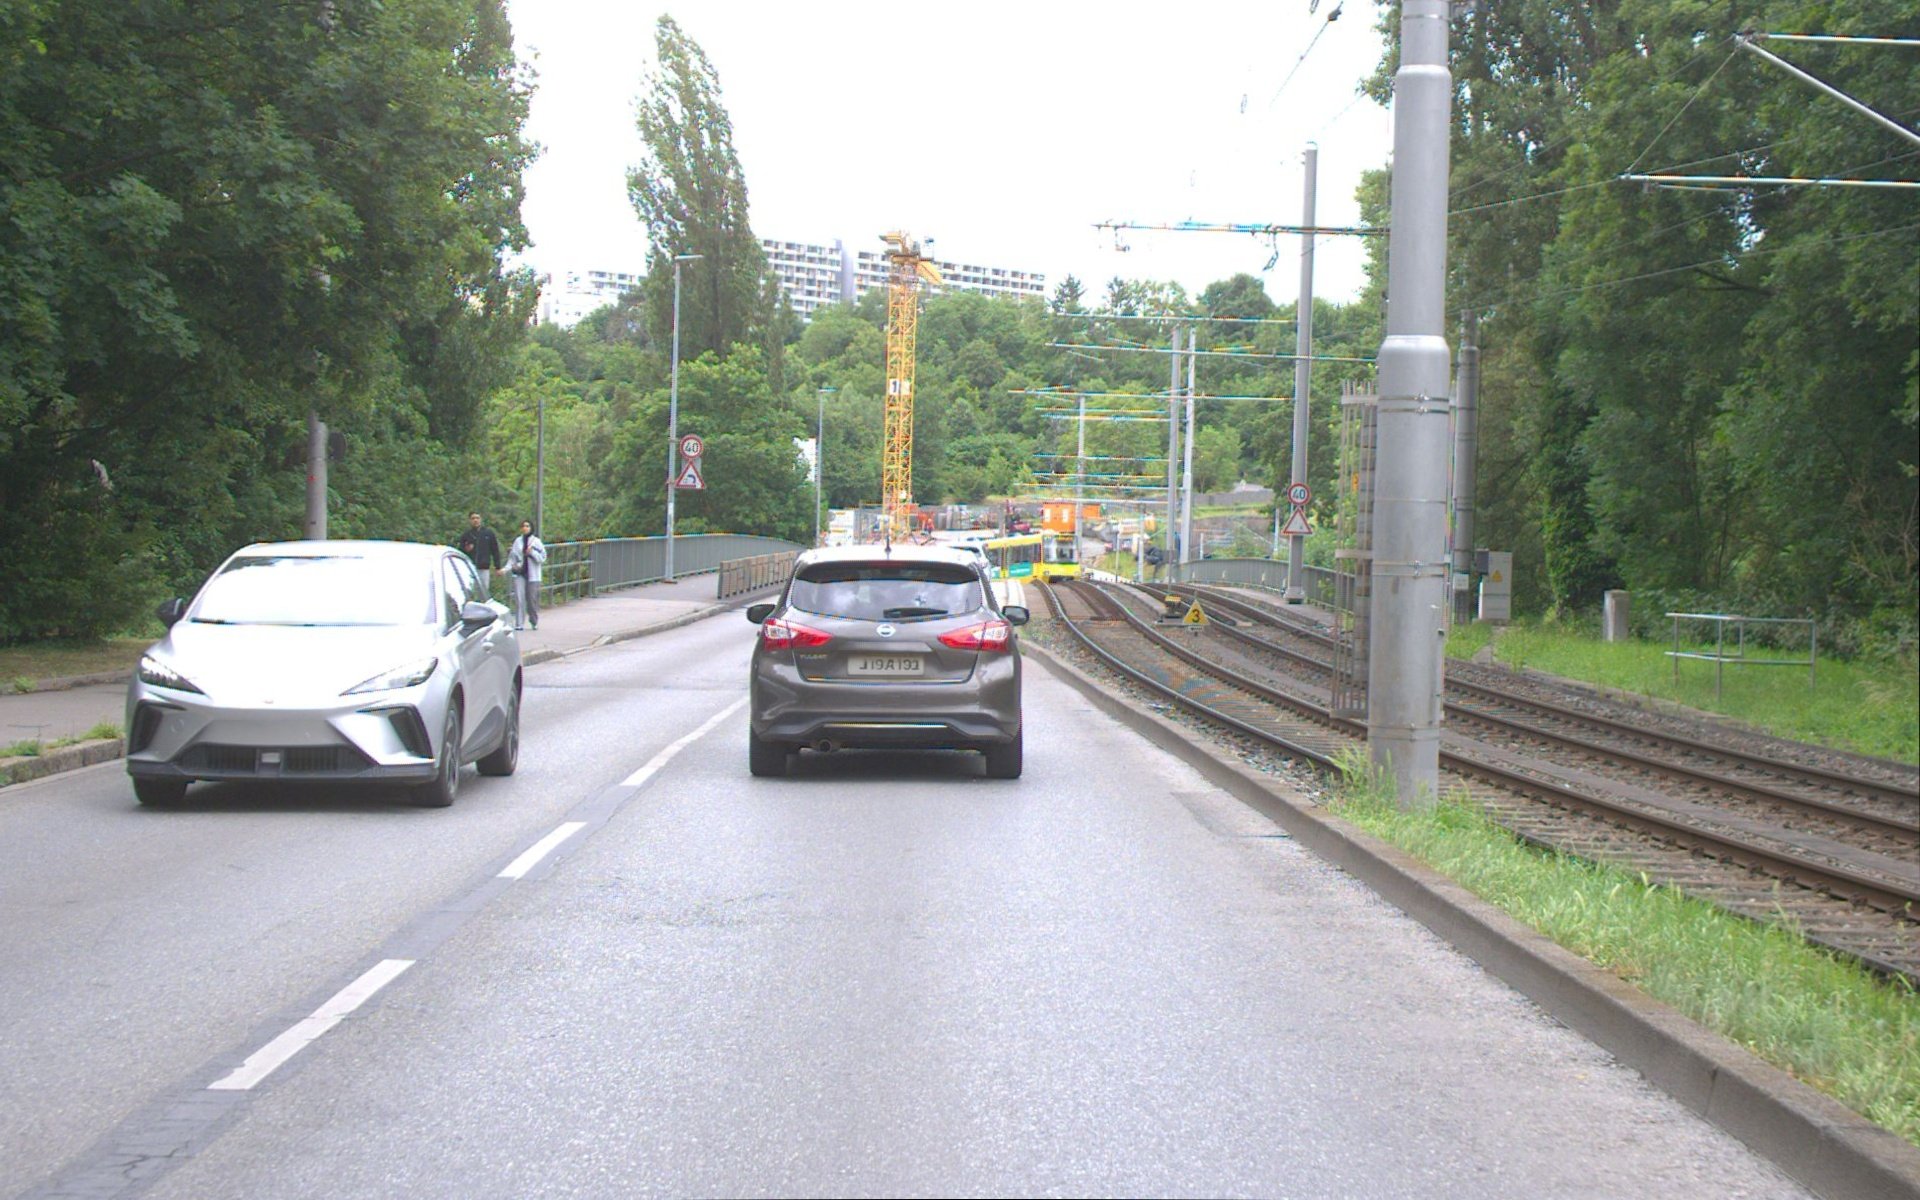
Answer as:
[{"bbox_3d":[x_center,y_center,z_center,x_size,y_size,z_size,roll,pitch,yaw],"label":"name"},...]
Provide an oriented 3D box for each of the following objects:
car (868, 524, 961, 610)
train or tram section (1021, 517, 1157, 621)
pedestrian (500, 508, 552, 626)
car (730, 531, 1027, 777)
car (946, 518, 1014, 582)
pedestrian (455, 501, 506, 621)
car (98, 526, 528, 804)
[{"bbox_3d":[-0.894,-0.686,69.902,1.680,1.601,4.309,3,1,1],"label":"car"},{"bbox_3d":[6.949,-1.558,190.972,3.027,5.165,23.060,3,-1,-9],"label":"train or tram section"},{"bbox_3d":[-6.677,-0.517,52.894,0.551,1.759,0.858,5,1,-1],"label":"pedestrian"},{"bbox_3d":[-0.597,0.305,23.522,1.829,1.504,4.001,1,1,-2],"label":"car"},{"bbox_3d":[0.547,-1.335,90.736,1.680,1.601,4.309,2,1,1],"label":"car"},{"bbox_3d":[-7.341,-0.603,52.656,0.587,1.797,0.822,3,1,-1],"label":"pedestrian"},{"bbox_3d":[-3.772,0.310,20.738,1.794,1.487,4.180,-1,1,0],"label":"car"}]
